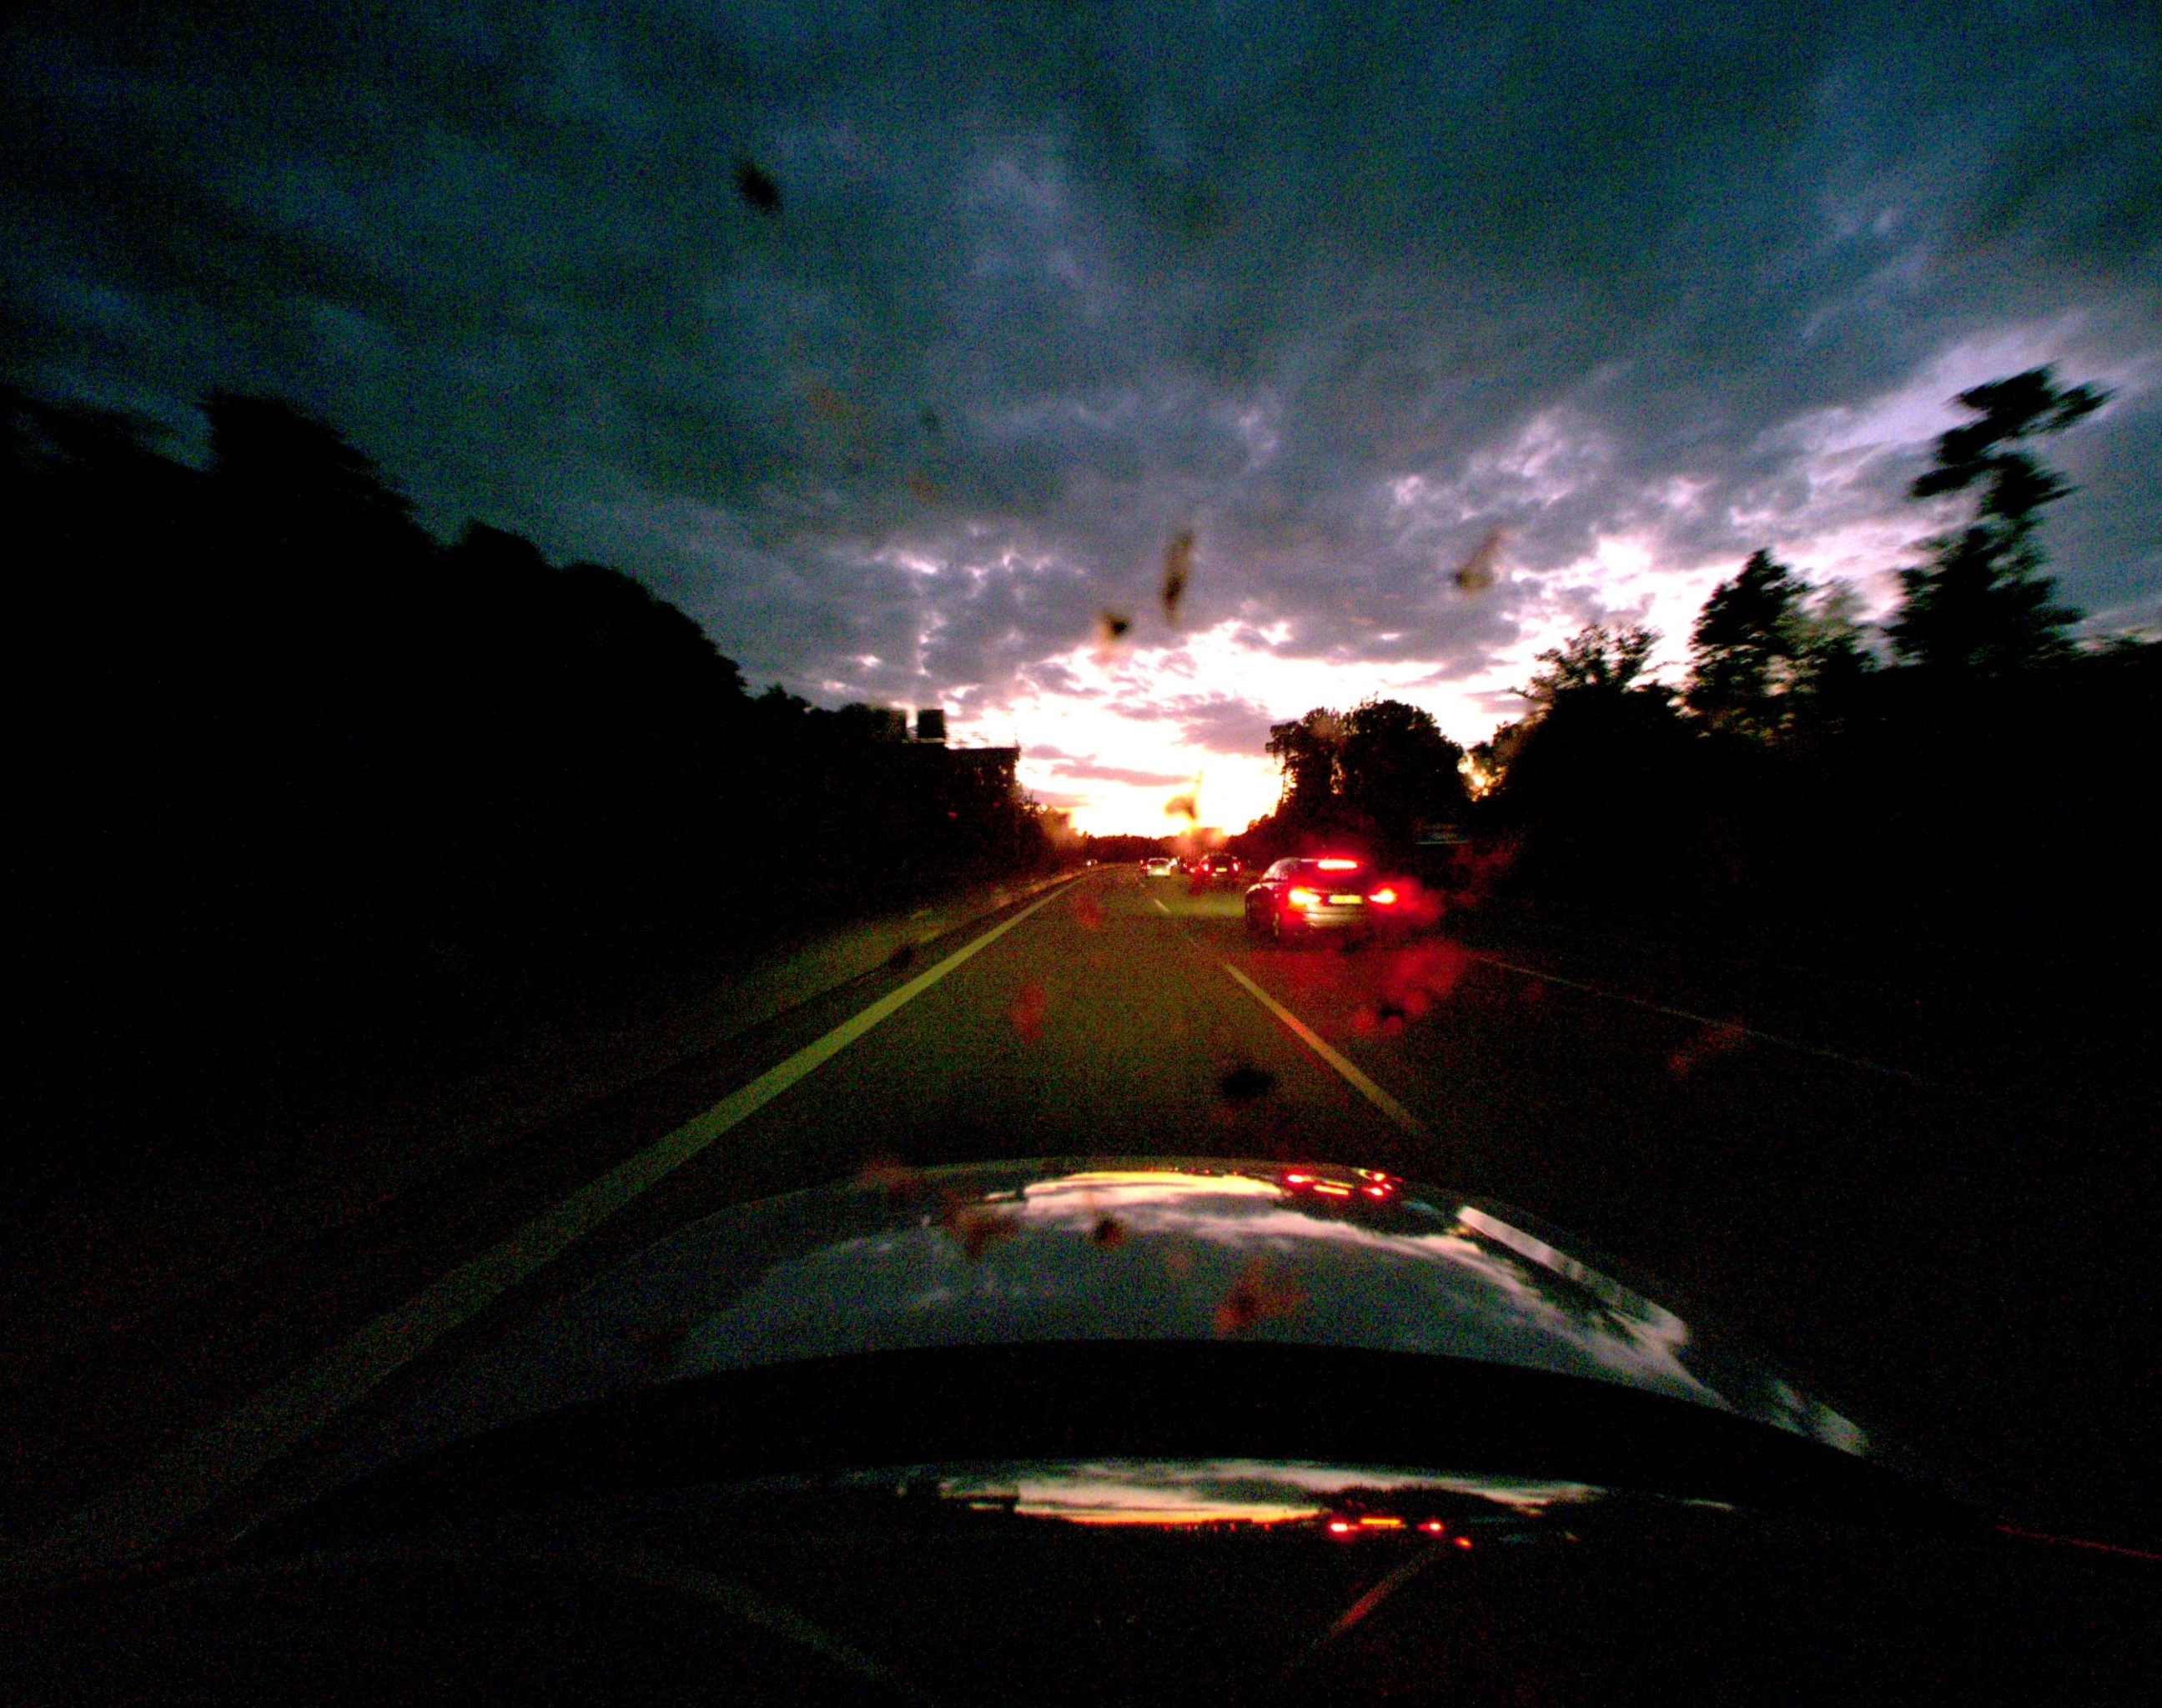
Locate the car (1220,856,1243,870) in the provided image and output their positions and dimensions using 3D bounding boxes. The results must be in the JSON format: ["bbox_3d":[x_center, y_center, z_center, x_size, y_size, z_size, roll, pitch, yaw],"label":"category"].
[{"bbox_3d":[16.249,1.021,88.147,1.851,1.442,4.114,-1,-1,3],"label":"car"}]

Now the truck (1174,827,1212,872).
[{"bbox_3d":[10.991,-0.324,80.714,2.873,4.101,10.839,0,-1,3],"label":"truck"}]

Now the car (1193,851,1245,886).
[{"bbox_3d":[6.978,0.720,41.691,1.896,1.643,5.053,-1,0,1],"label":"car"}]

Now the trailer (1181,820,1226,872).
[{"bbox_3d":[10.408,-0.527,70.168,2.895,4.101,10.365,0,-1,3],"label":"trailer"}]

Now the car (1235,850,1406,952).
[{"bbox_3d":[4.288,0.732,15.504,1.902,1.537,5.235,-1,1,2],"label":"car"}]

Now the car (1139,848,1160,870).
[{"bbox_3d":[7.884,0.558,93.564,2.154,2.419,5.573,-1,-1,7],"label":"car"}]

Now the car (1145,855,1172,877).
[{"bbox_3d":[5.524,0.838,58.160,1.850,1.442,3.726,-1,1,5],"label":"car"}]
